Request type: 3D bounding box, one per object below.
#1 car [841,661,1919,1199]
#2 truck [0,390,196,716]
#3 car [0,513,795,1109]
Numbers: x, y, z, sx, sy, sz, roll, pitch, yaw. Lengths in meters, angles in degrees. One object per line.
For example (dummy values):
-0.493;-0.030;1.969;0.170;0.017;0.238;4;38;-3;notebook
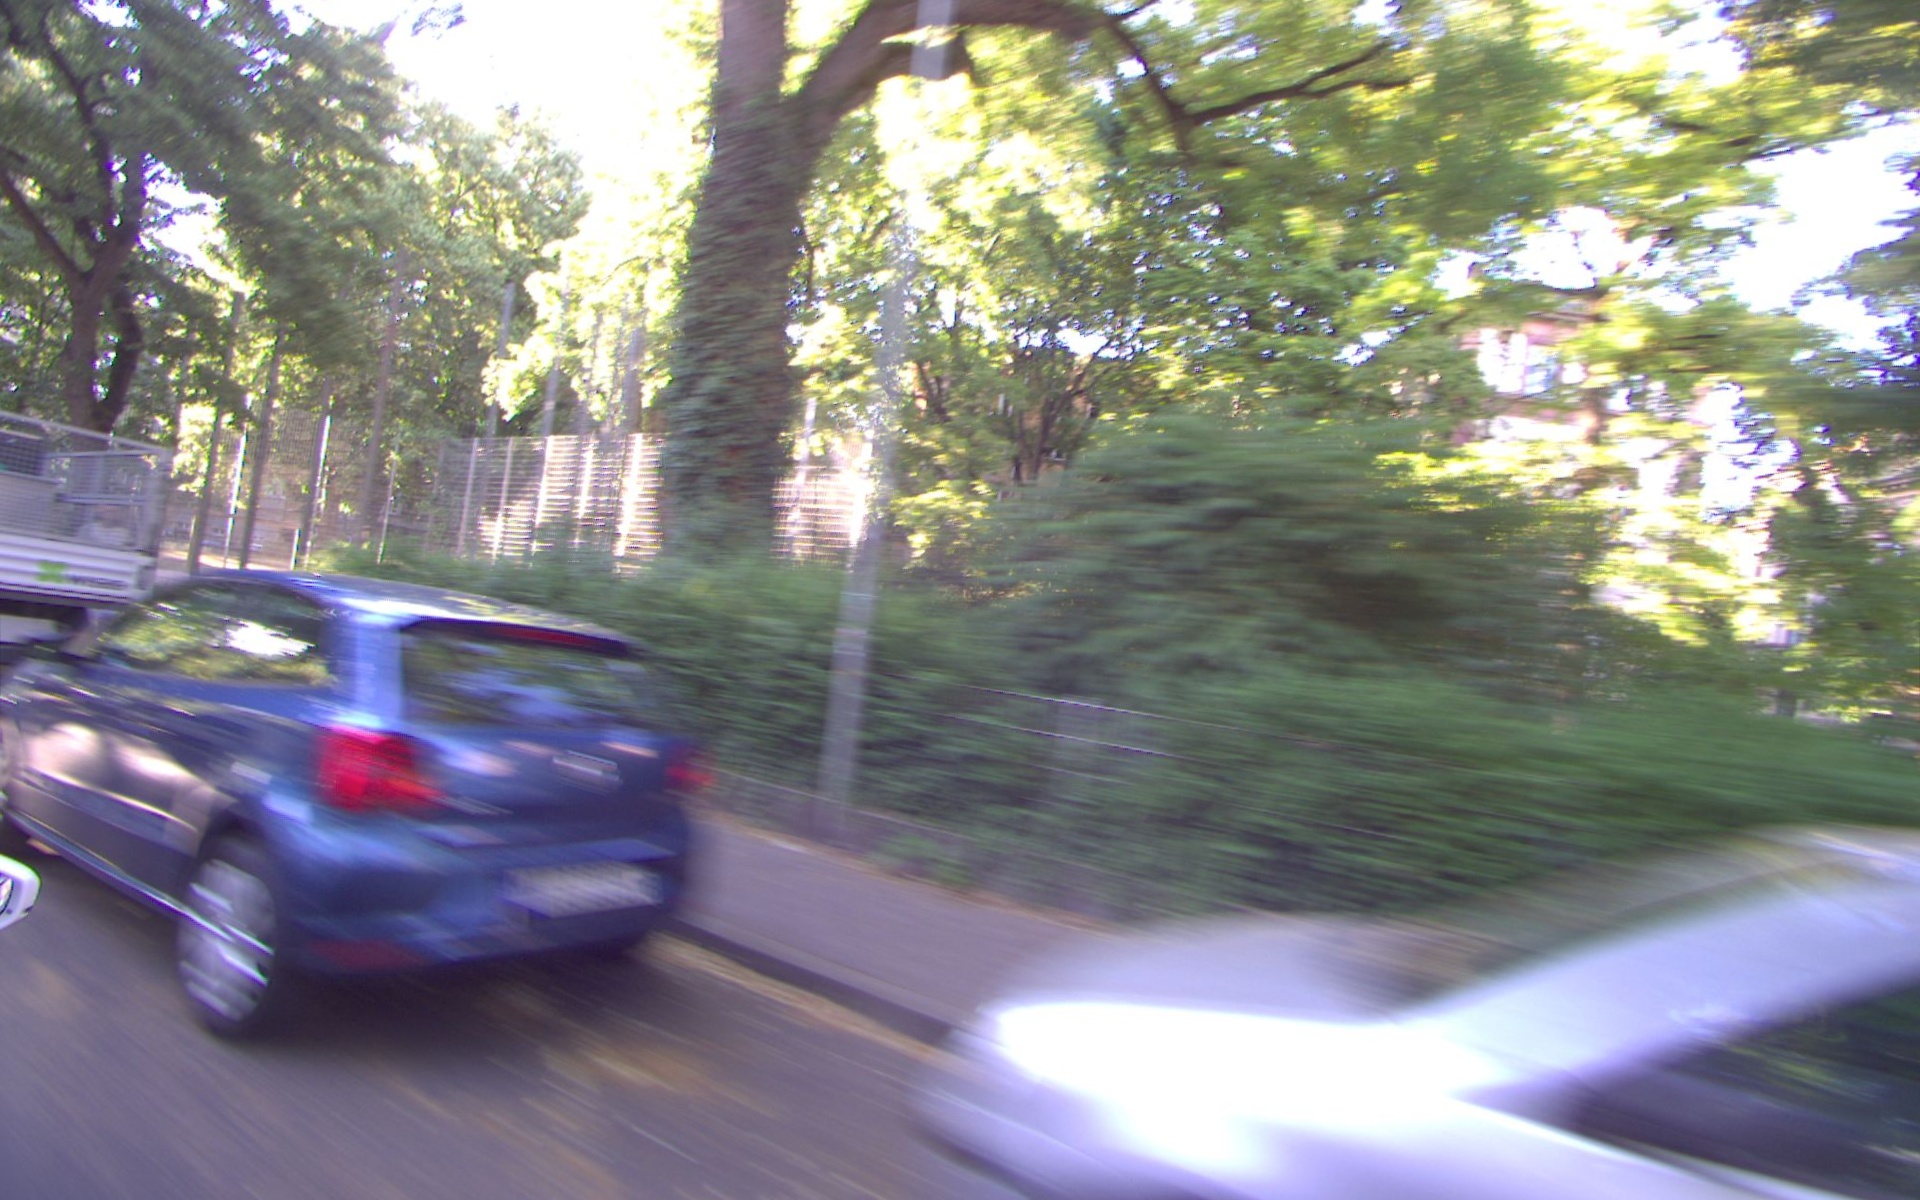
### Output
1.848;1.125;1.810;3.828;1.474;1.677;6;-3;31;car
-10.083;-0.636;9.484;6.824;2.412;2.300;6;-3;34;truck
-2.801;0.557;4.430;3.830;1.474;1.676;6;-3;33;car
